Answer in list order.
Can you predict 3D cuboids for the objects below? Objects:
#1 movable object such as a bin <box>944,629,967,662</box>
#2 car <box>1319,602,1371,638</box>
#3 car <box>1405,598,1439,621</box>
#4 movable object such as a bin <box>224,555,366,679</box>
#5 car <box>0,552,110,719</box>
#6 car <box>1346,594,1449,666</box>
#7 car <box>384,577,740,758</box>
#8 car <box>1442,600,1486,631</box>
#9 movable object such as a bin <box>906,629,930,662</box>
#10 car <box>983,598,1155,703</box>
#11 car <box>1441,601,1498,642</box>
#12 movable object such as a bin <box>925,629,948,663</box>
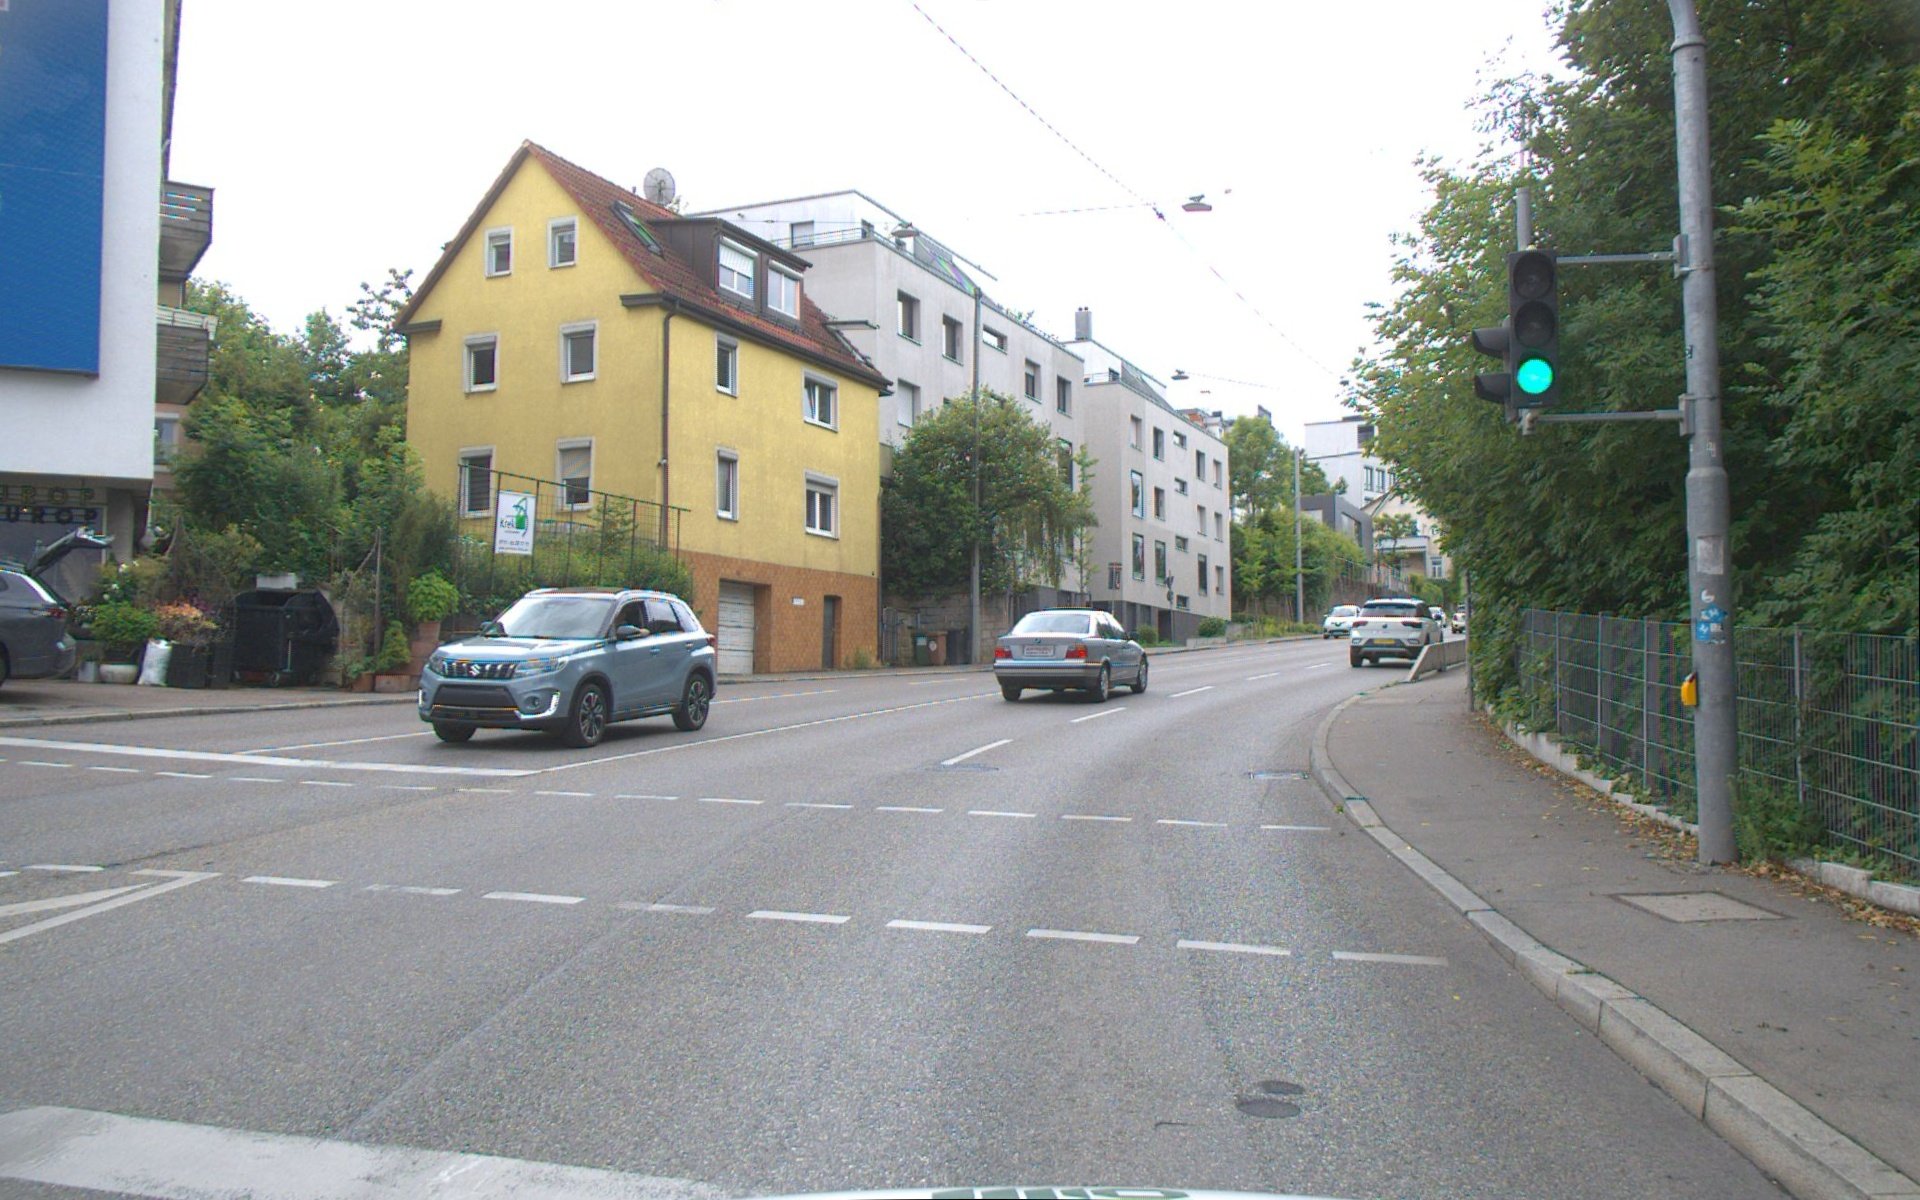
[{"bbox_3d":[-0.117,1.261,45.815,0.555,0.901,0.610,1,0,7],"label":"movable object such as a bin"},{"bbox_3d":[19.221,0.994,82.465,1.709,1.642,4.054,-4,-1,25],"label":"car"},{"bbox_3d":[32.057,0.627,114.703,1.737,1.490,4.190,-2,-1,22],"label":"car"},{"bbox_3d":[-10.187,0.261,25.462,1.732,1.810,1.848,1,-1,-14],"label":"movable object such as a bin"},{"bbox_3d":[-12.592,0.226,19.225,4.633,1.741,2.299,6,0,-27],"label":"car"},{"bbox_3d":[10.480,0.700,39.439,1.744,1.607,3.997,1,0,24],"label":"car"},{"bbox_3d":[-4.166,0.676,18.136,1.856,1.725,4.350,0,-1,16],"label":"car"},{"bbox_3d":[25.572,0.770,83.815,1.672,1.490,3.998,-1,-1,23],"label":"car"},{"bbox_3d":[-1.177,1.260,46.271,0.555,0.901,0.610,1,0,7],"label":"movable object such as a bin"},{"bbox_3d":[1.810,0.767,26.229,1.671,1.489,4.001,2,0,20],"label":"car"},{"bbox_3d":[19.727,0.848,63.972,1.672,1.489,3.998,1,0,23],"label":"car"},{"bbox_3d":[-0.646,1.259,45.574,0.555,0.901,0.610,1,0,7],"label":"movable object such as a bin"}]
